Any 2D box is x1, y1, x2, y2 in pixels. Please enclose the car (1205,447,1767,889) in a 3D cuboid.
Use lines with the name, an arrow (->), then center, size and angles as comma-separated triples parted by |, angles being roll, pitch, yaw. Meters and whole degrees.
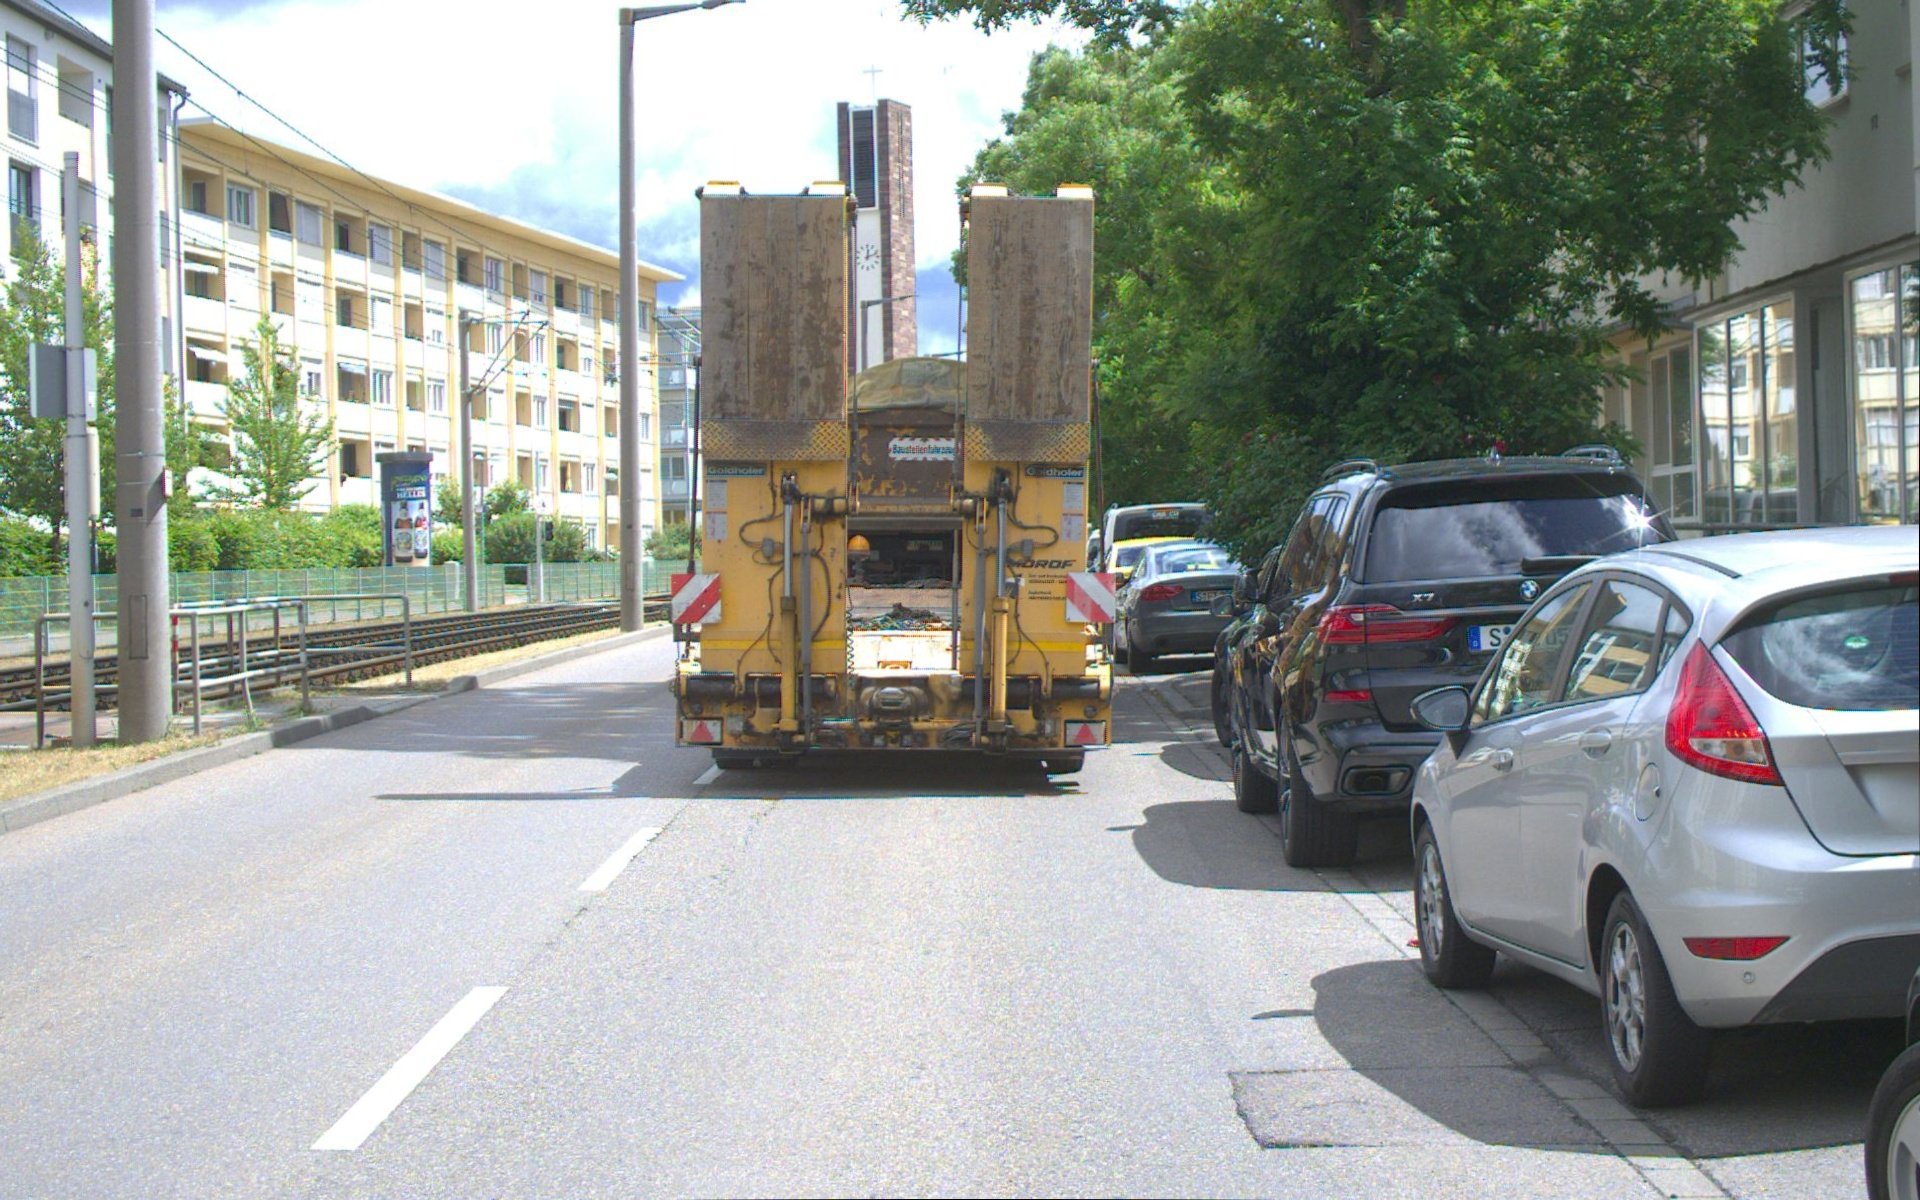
car -> 2.360, 0.240, 16.792 | 2.015, 1.782, 5.076 | -2, 1, 1

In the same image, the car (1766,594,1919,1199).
car -> 2.455, 0.667, 4.999 | 1.771, 1.345, 4.000 | -3, 1, 3

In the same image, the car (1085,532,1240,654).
car -> 2.569, -0.127, 44.459 | 1.755, 1.437, 4.341 | -2, 1, 1

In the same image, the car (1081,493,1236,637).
car -> 2.877, -0.539, 50.939 | 1.914, 1.952, 5.745 | -2, 1, 0

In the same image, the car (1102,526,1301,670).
car -> 2.584, -0.056, 37.726 | 1.755, 1.437, 4.494 | -2, 1, -1

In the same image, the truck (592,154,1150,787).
truck -> -0.558, -0.853, 25.667 | 3.124, 3.552, 12.460 | 0, 1, -1

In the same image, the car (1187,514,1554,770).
car -> 2.631, 0.218, 22.988 | 1.834, 1.500, 4.243 | -2, 1, -1

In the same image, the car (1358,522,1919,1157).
car -> 2.397, 0.528, 10.142 | 1.771, 1.437, 3.900 | -3, 1, -2
